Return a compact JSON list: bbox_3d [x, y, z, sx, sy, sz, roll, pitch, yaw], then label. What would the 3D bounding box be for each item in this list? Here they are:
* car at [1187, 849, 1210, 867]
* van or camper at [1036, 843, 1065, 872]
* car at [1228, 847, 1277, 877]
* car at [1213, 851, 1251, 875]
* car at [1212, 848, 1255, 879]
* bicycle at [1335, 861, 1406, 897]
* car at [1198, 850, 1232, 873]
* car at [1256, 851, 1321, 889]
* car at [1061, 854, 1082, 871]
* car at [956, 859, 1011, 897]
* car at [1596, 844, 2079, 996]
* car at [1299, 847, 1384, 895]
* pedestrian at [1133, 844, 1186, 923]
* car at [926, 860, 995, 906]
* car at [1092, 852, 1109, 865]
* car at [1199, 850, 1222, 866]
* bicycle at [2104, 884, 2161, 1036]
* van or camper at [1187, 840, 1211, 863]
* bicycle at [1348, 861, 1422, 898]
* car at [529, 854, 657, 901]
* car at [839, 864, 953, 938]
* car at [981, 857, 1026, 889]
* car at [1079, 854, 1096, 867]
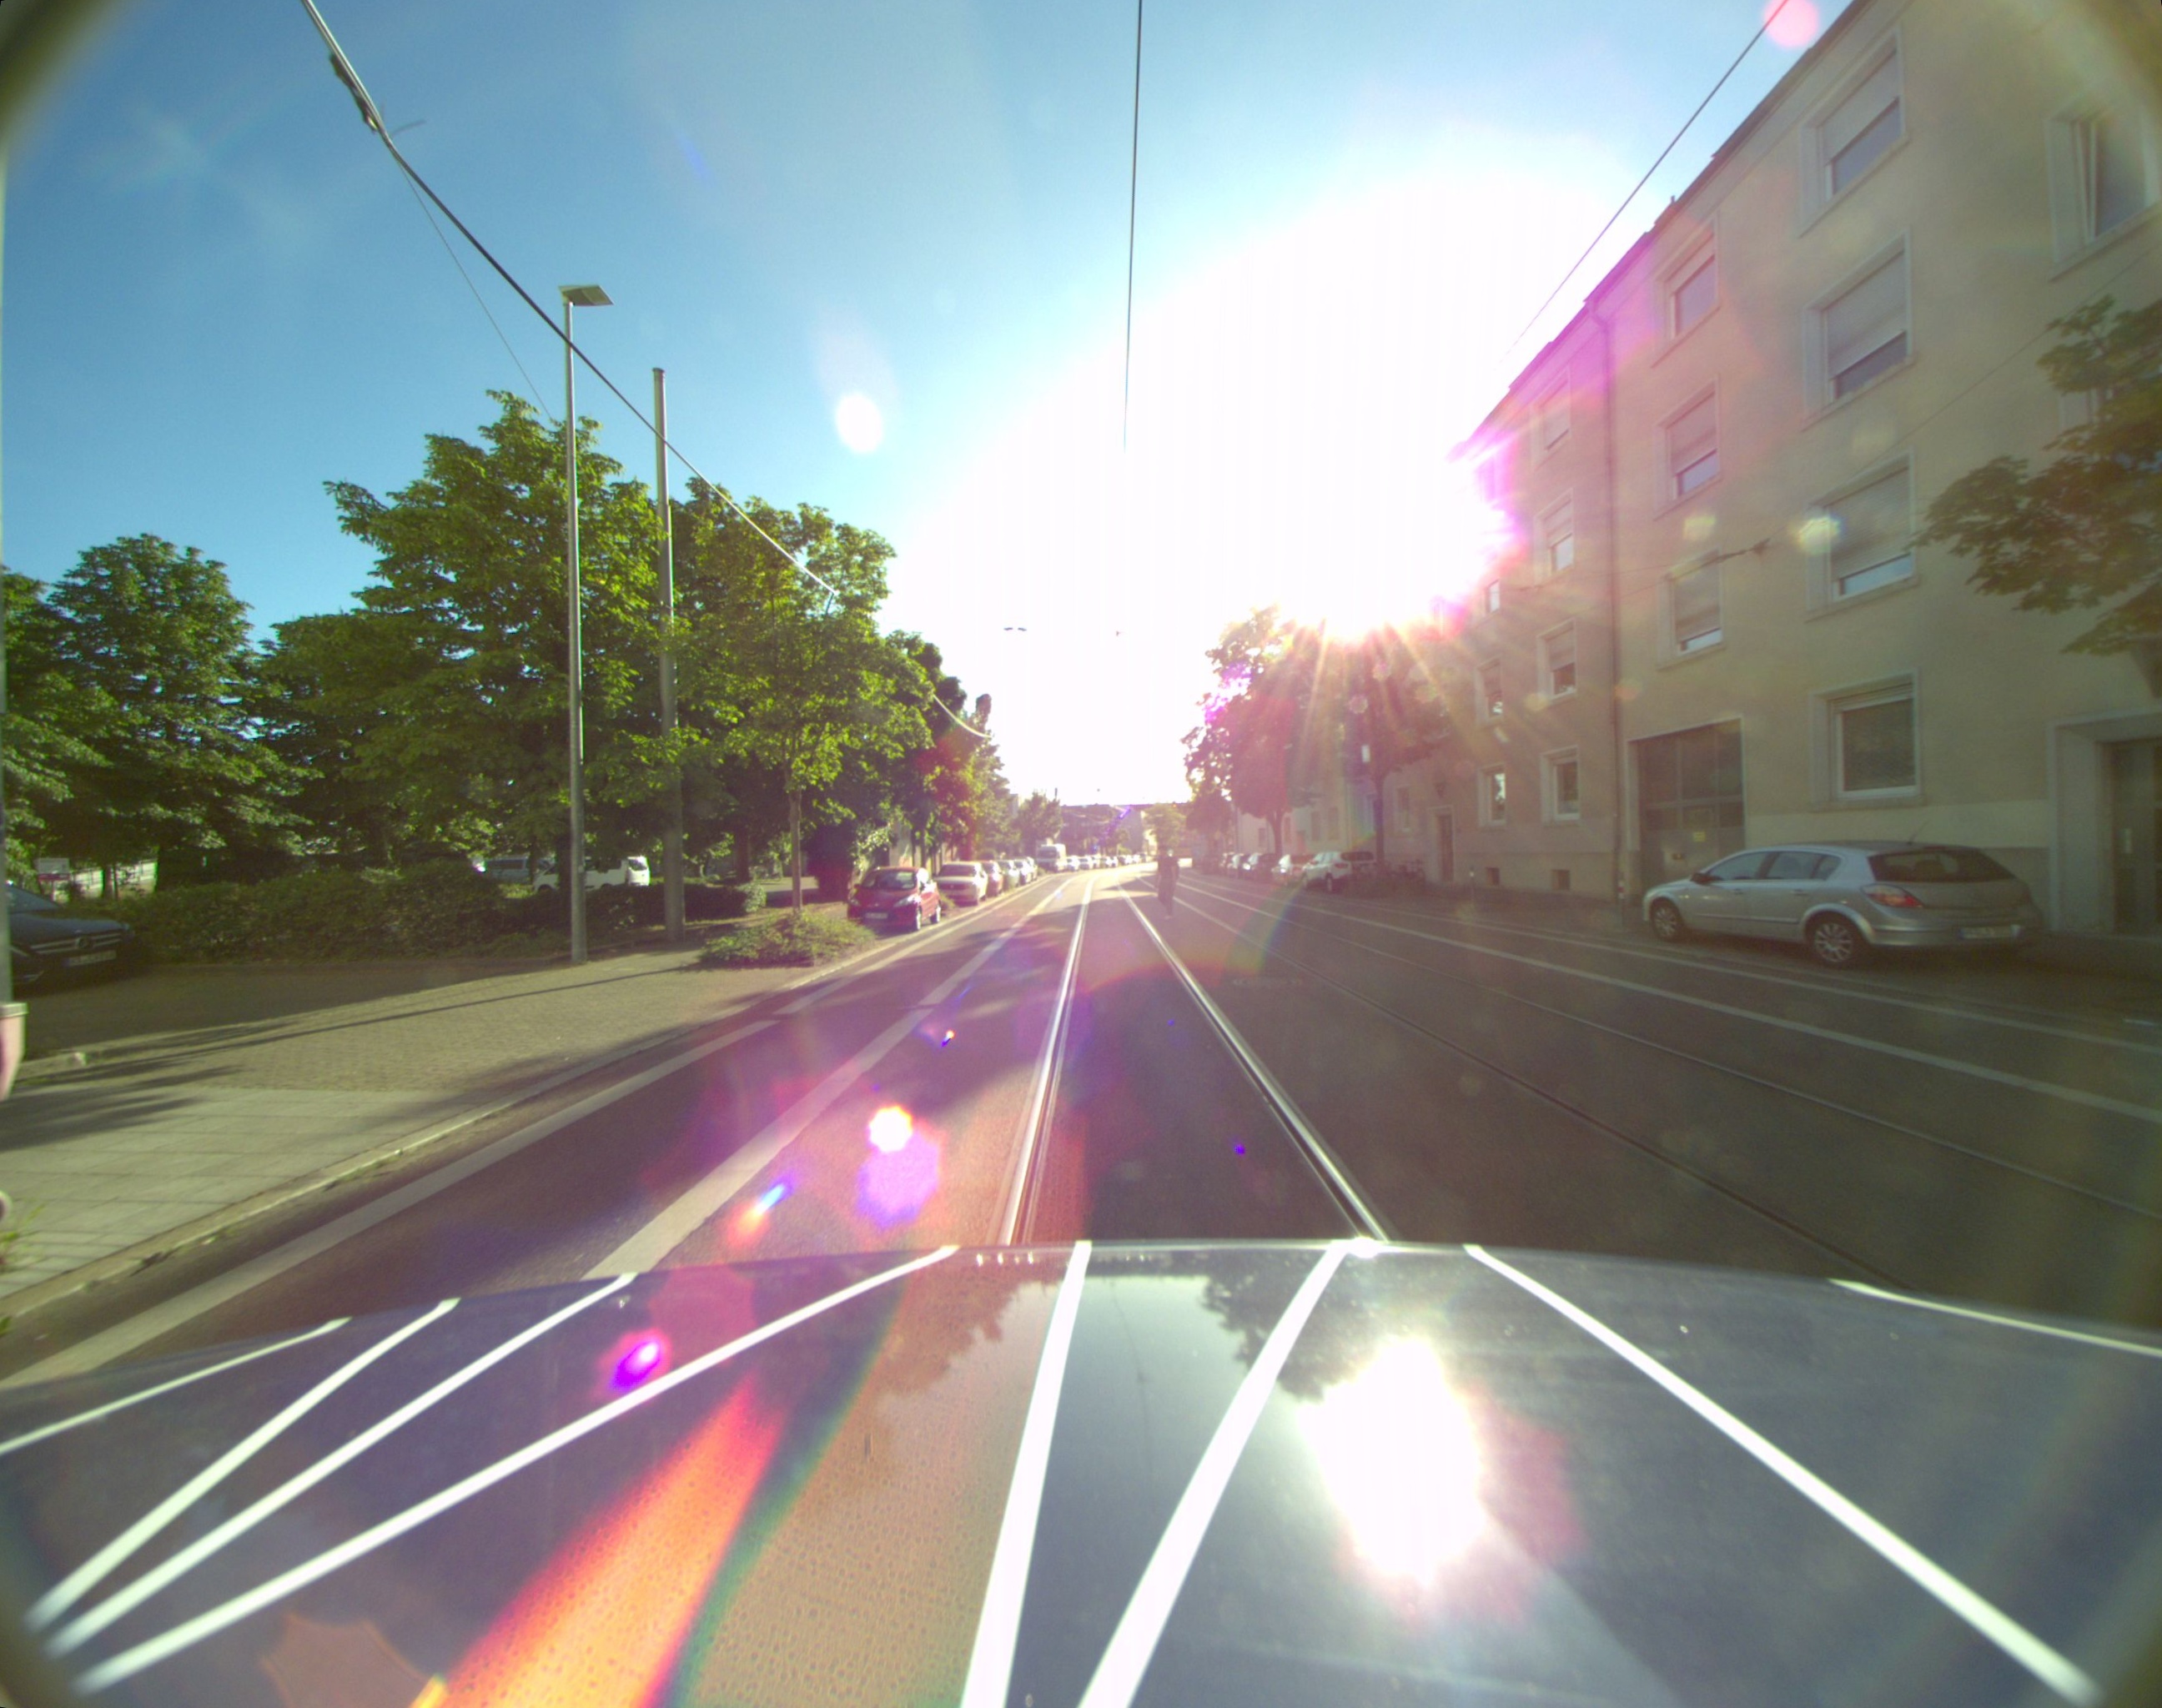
[{"bbox_3d":[10.862,0.365,70.480,1.666,1.535,3.410,-2,0,1],"label":"car"},{"bbox_3d":[-2.746,0.263,69.938,2.090,2.548,5.694,-2,1,3],"label":"van or camper"},{"bbox_3d":[9.569,0.423,42.598,1.688,1.542,4.047,-2,0,-2],"label":"car"},{"bbox_3d":[10.177,0.576,51.408,1.688,1.542,3.714,-2,0,-2],"label":"car"},{"bbox_3d":[9.402,0.572,46.998,1.688,1.776,4.047,-2,0,-2],"label":"car"},{"bbox_3d":[9.732,0.838,25.560,2.149,1.136,0.535,-2,1,-2],"label":"bicycle"},{"bbox_3d":[9.838,0.532,56.038,1.688,1.542,3.950,-2,0,-2],"label":"car"},{"bbox_3d":[9.252,0.664,34.236,1.688,1.542,4.047,-2,0,-2],"label":"car"},{"bbox_3d":[-0.893,0.819,76.116,1.828,1.562,4.266,0,0,3],"label":"car"},{"bbox_3d":[-4.312,1.013,34.277,1.828,1.562,4.478,0,0,1],"label":"car"},{"bbox_3d":[9.316,0.644,10.121,1.769,1.464,4.752,-3,1,2],"label":"car"},{"bbox_3d":[9.714,0.594,28.651,1.688,1.614,4.047,-2,0,-2],"label":"car"},{"bbox_3d":[1.832,0.662,17.726,0.947,1.800,0.799,0,1,-36],"label":"pedestrian"},{"bbox_3d":[-4.470,1.043,28.769,1.828,1.562,4.478,0,0,1],"label":"car"},{"bbox_3d":[2.430,0.584,95.723,1.828,1.562,4.267,0,0,6],"label":"car"},{"bbox_3d":[12.939,0.373,75.950,1.666,1.535,3.410,-2,0,1],"label":"car"},{"bbox_3d":[9.393,0.785,5.874,2.149,1.136,0.659,-3,1,-2],"label":"bicycle"},{"bbox_3d":[13.038,-0.311,84.476,2.074,2.400,5.500,-2,0,4],"label":"van or camper"},{"bbox_3d":[9.829,0.823,24.584,2.149,1.136,0.530,-2,1,-2],"label":"bicycle"},{"bbox_3d":[-22.859,1.081,35.713,4.723,1.914,1.972,-2,1,3],"label":"car"},{"bbox_3d":[-4.458,1.056,18.988,1.612,1.562,4.478,0,0,2],"label":"car"},{"bbox_3d":[-3.989,0.933,39.519,1.828,1.562,4.478,0,0,1],"label":"car"},{"bbox_3d":[0.770,0.743,84.339,1.726,1.403,3.888,0,0,3],"label":"car"}]
